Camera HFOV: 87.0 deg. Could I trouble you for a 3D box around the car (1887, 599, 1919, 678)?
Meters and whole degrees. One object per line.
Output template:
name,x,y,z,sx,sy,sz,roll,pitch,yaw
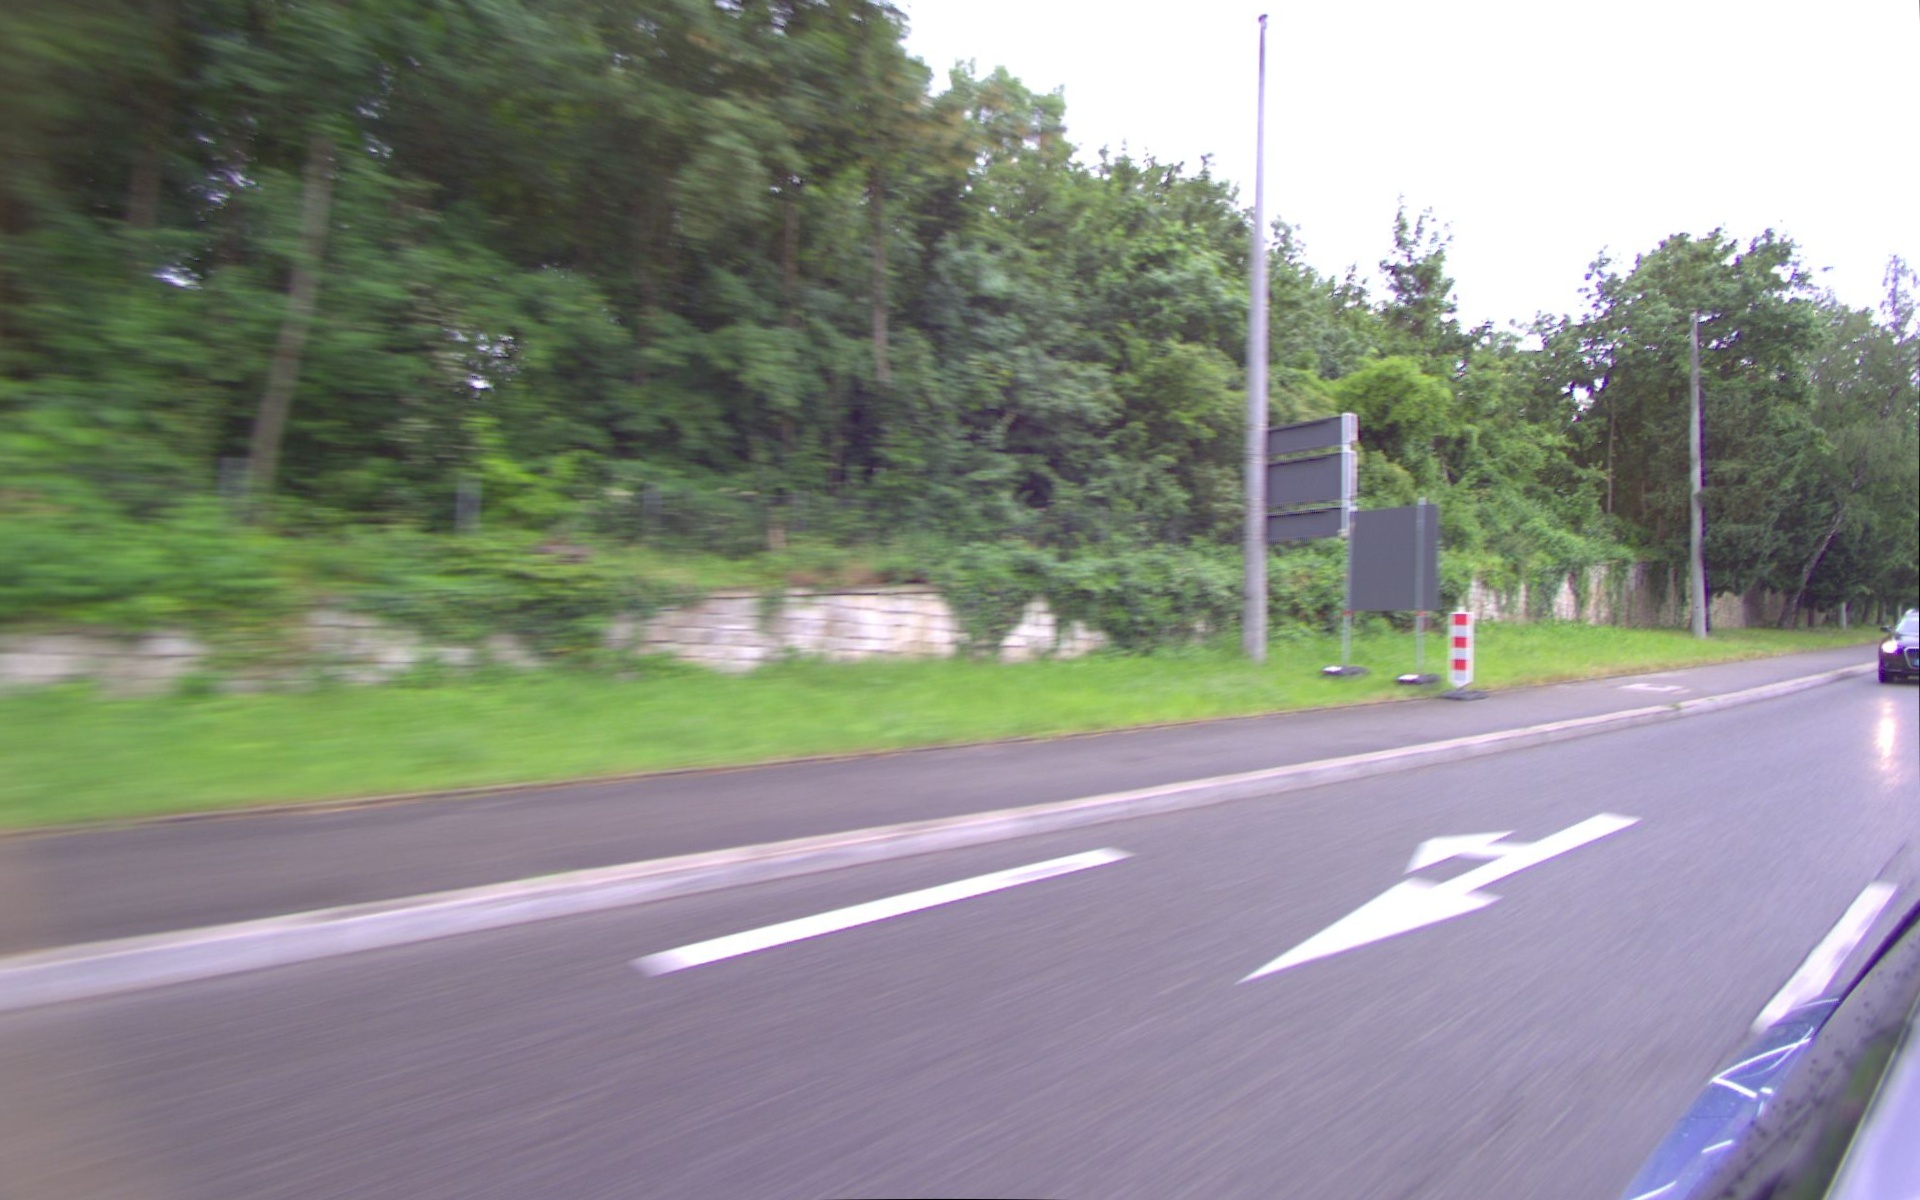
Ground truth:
car,21.878,0.823,22.037,4.202,1.621,1.927,0,0,-39
